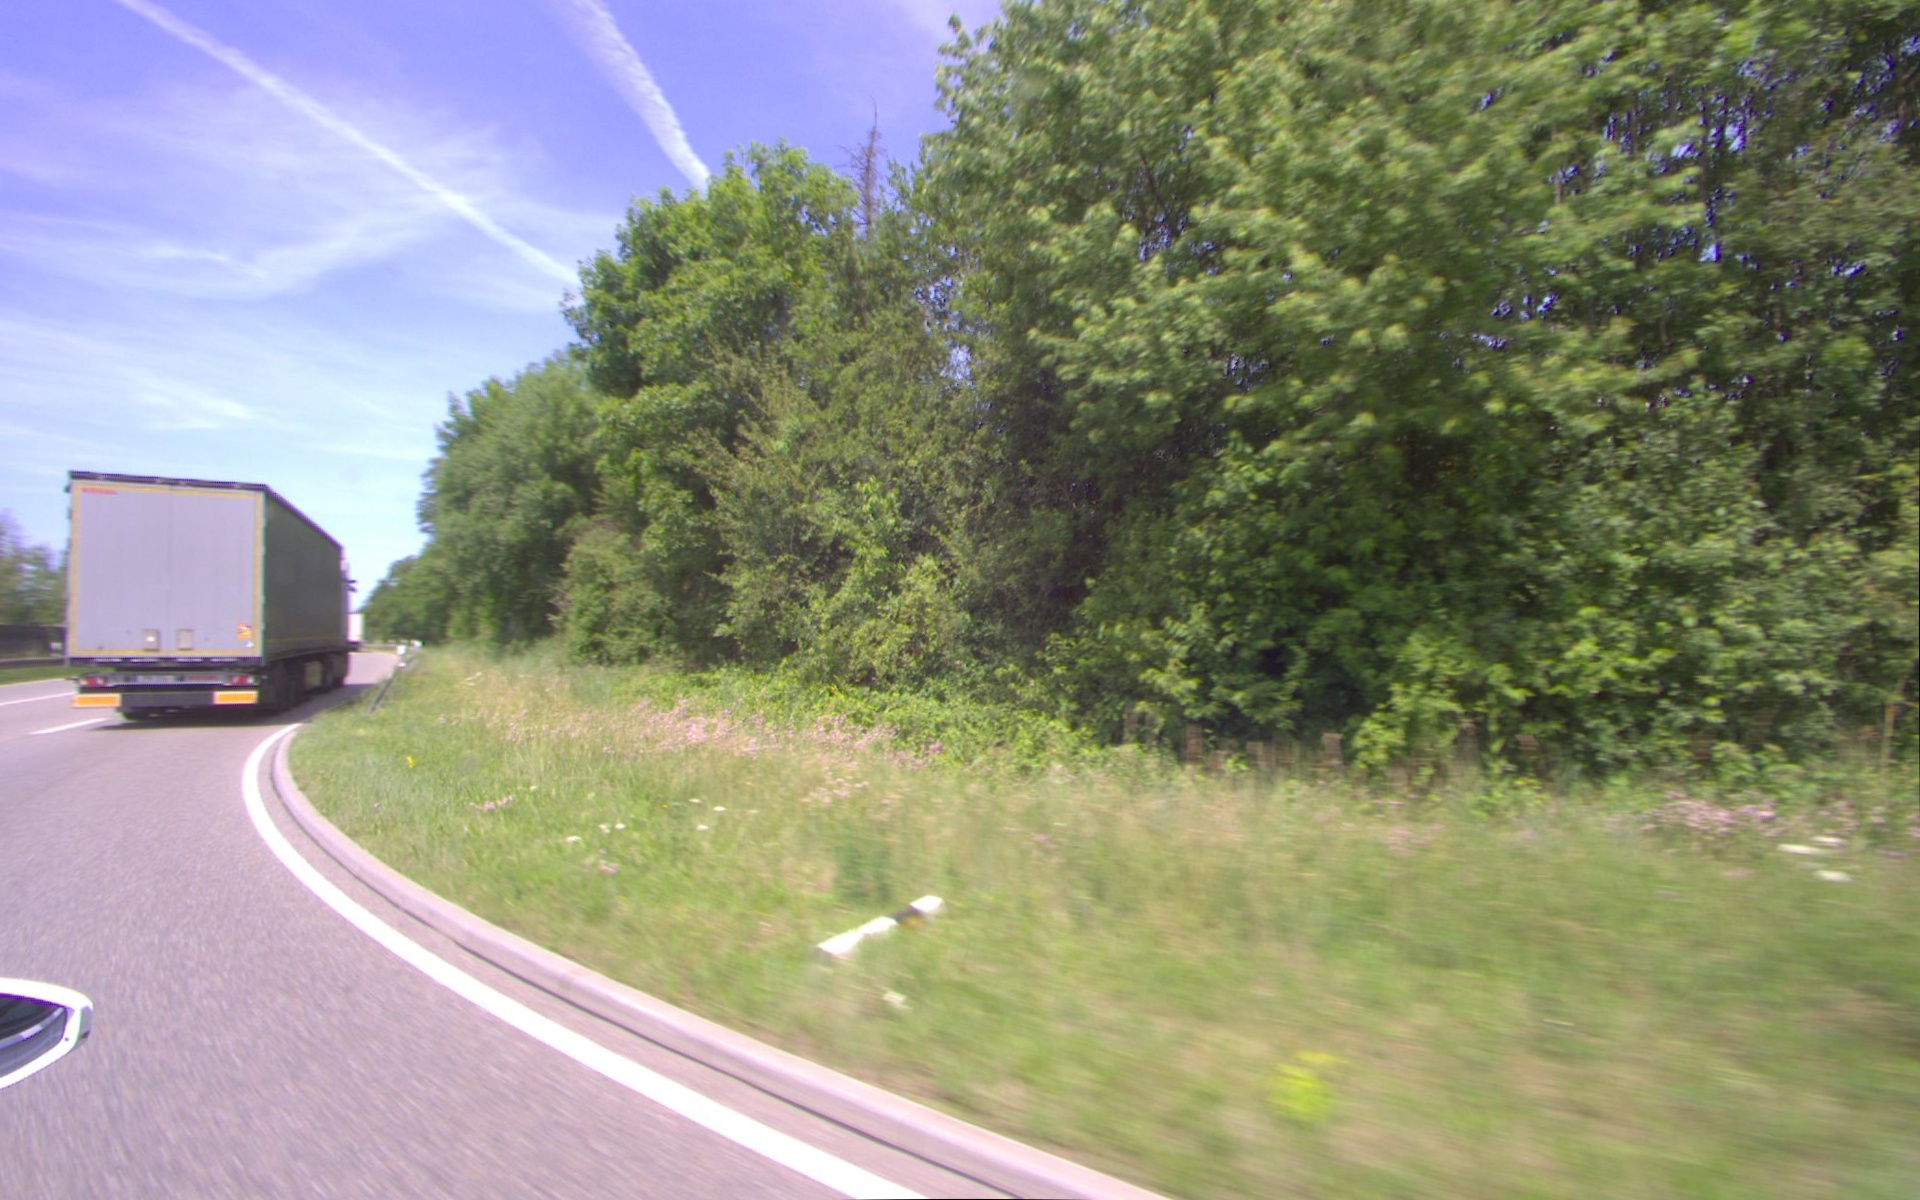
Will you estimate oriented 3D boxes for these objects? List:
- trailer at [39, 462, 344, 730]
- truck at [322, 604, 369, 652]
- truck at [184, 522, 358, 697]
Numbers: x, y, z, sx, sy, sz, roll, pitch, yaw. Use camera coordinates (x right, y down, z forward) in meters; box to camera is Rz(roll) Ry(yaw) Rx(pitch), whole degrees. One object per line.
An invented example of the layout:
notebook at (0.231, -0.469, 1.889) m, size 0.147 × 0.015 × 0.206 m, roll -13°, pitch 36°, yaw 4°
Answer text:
trailer at (-15.749, 0.219, 21.842) m, size 2.992 × 4.085 × 13.296 m, roll 1°, pitch -3°, yaw -28°
truck at (-66.188, 3.091, 108.139) m, size 3.786 × 4.804 × 16.125 m, roll 1°, pitch -3°, yaw -30°
truck at (-19.088, 0.393, 28.231) m, size 3.116 × 4.278 × 7.093 m, roll 1°, pitch -2°, yaw -28°
